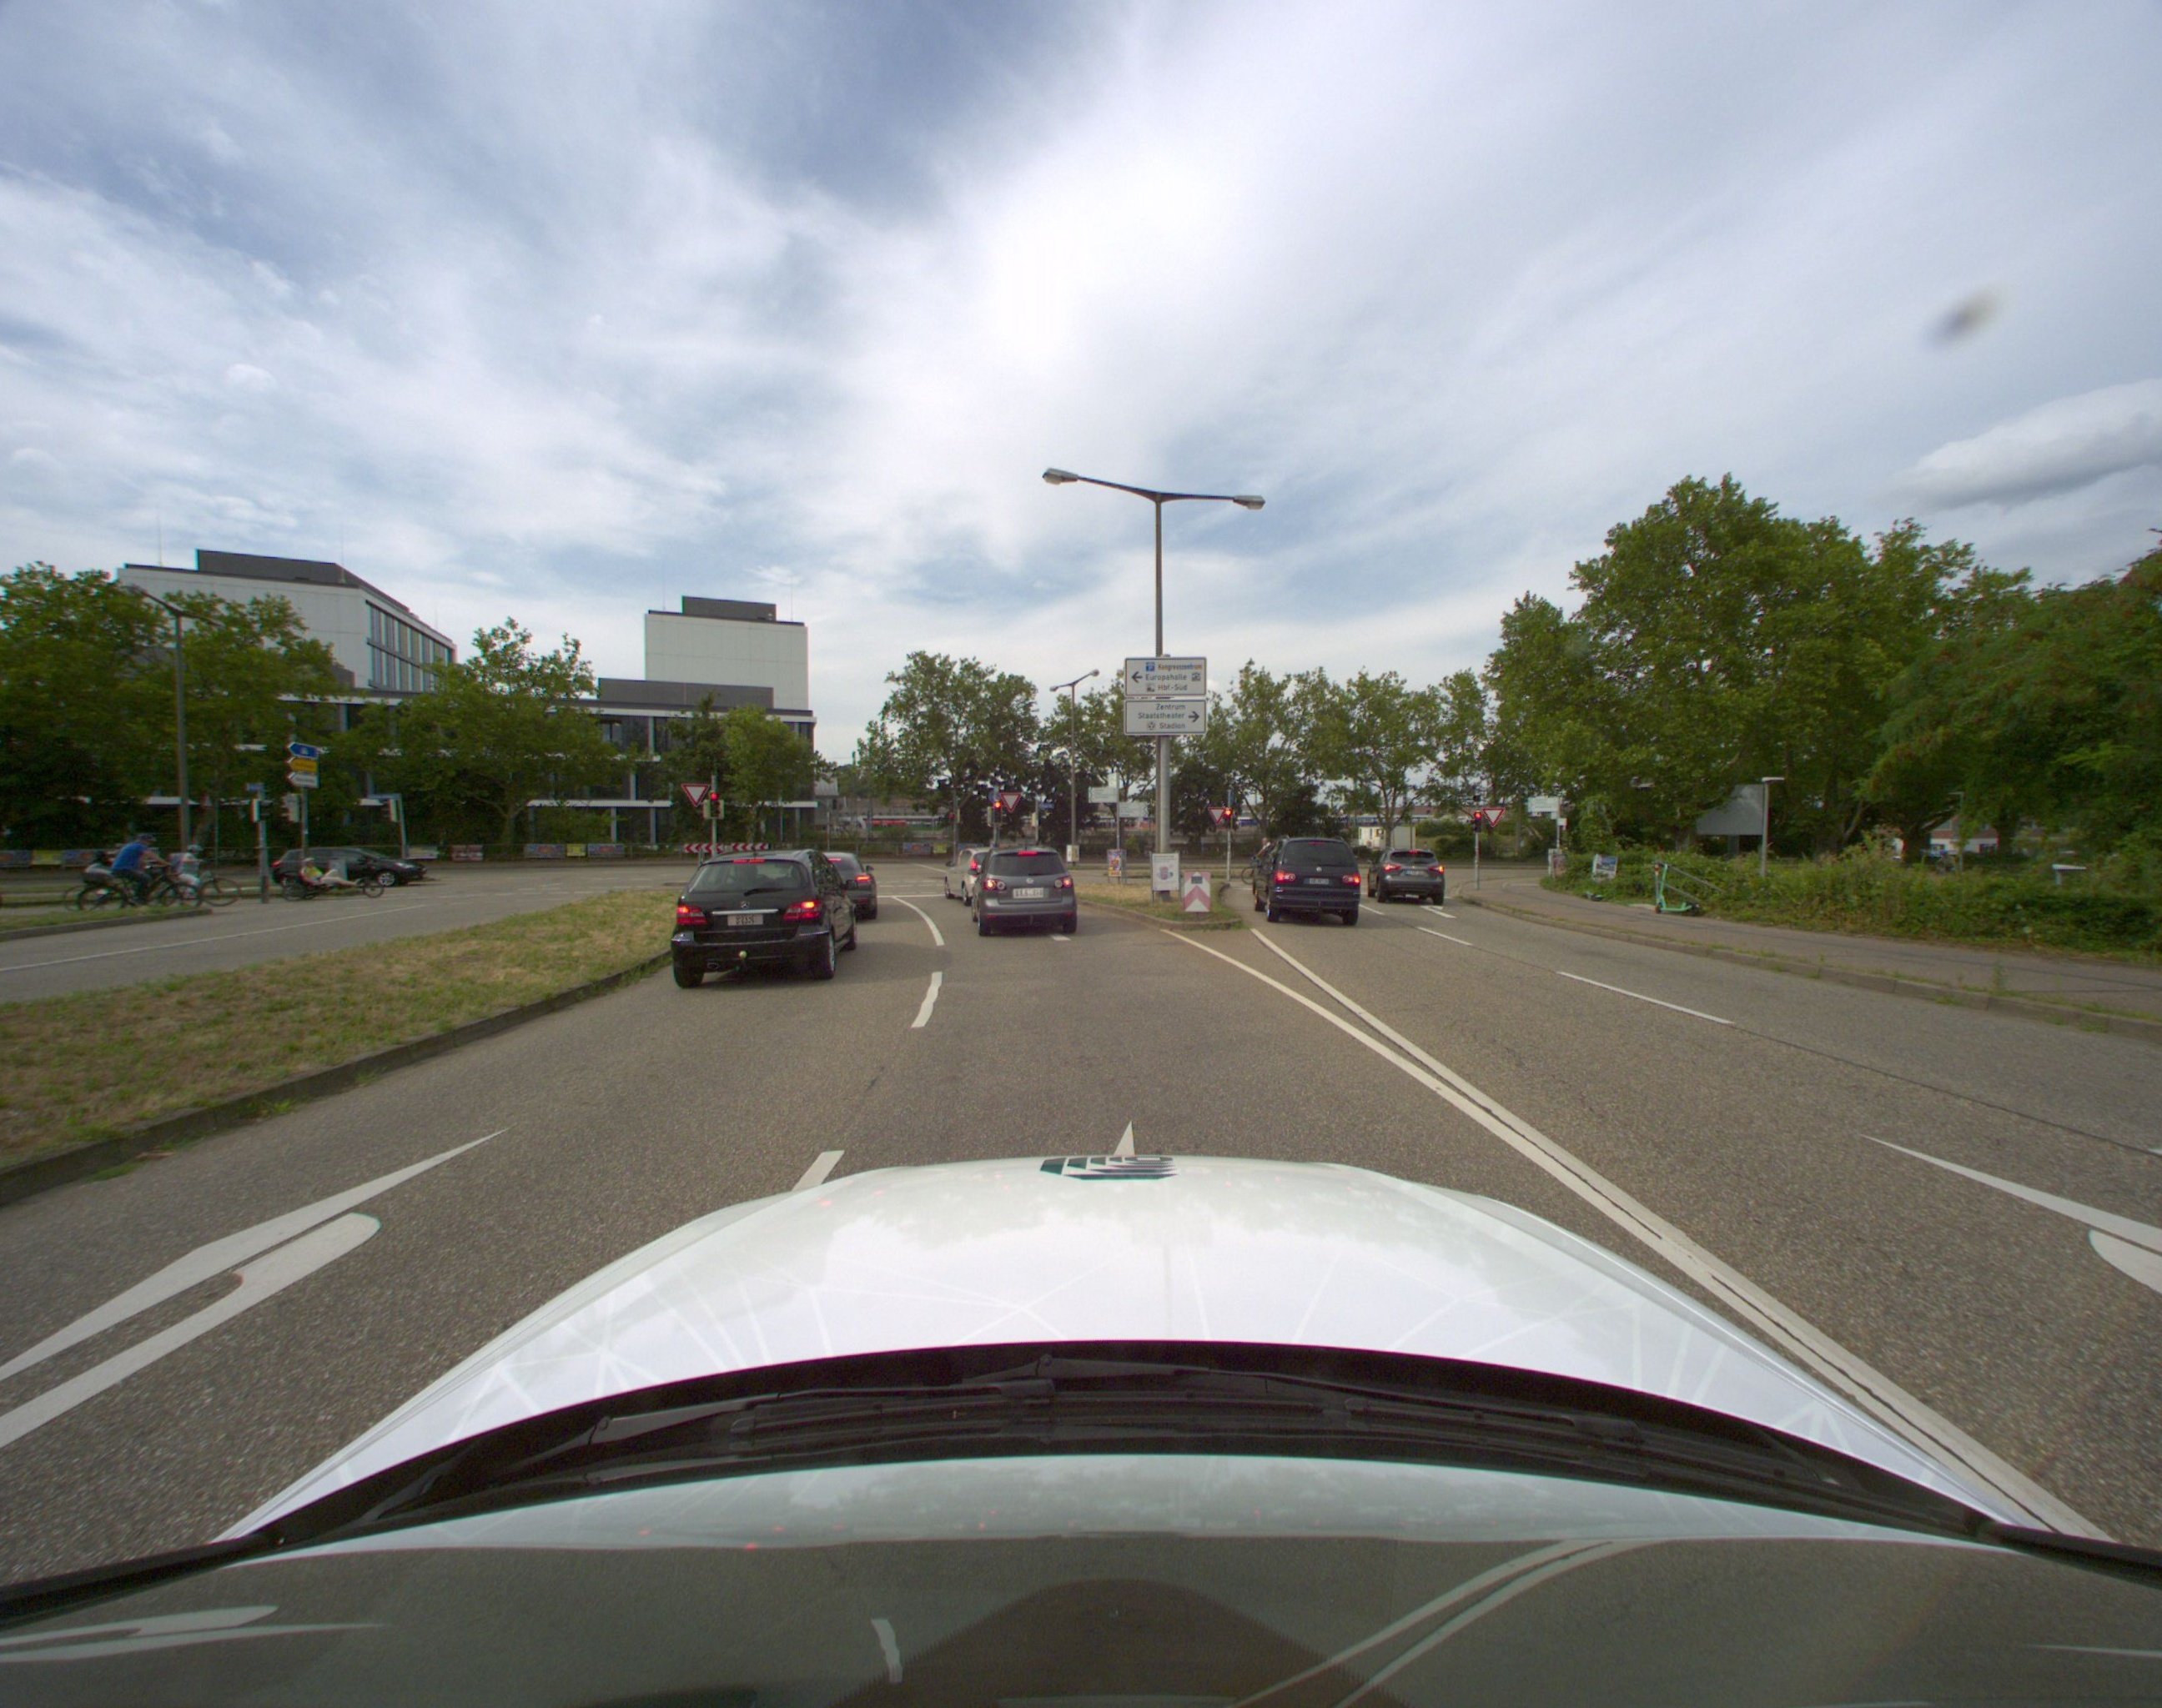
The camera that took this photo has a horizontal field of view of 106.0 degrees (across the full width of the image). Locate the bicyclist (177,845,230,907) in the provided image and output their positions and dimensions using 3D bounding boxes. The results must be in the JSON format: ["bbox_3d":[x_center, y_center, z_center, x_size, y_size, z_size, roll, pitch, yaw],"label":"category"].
[{"bbox_3d":[-22.823,0.553,21.185,0.785,1.581,0.648,-1,1,-35],"label":"bicyclist"}]

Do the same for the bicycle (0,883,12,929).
[{"bbox_3d":[-25.257,1.208,18.014,0.620,1.013,1.919,0,2,39],"label":"bicycle"}]

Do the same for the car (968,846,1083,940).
[{"bbox_3d":[-1.202,0.633,15.726,1.741,1.546,4.067,-1,1,-11],"label":"car"}]

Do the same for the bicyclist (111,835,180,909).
[{"bbox_3d":[-21.517,0.395,18.740,0.801,1.656,0.889,-1,1,32],"label":"bicyclist"}]

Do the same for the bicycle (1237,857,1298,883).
[{"bbox_3d":[7.393,0.644,32.330,2.226,0.952,0.809,-1,1,-8],"label":"bicycle"}]

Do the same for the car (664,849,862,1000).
[{"bbox_3d":[-4.071,0.759,11.091,1.757,1.575,4.022,0,2,-11],"label":"car"}]

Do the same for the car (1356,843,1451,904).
[{"bbox_3d":[9.569,0.531,24.471,1.740,1.643,4.148,1,0,8],"label":"car"}]

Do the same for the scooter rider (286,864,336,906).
[{"bbox_3d":[-22.276,0.873,23.579,0.921,1.137,0.799,-2,2,-37],"label":"scooter rider"}]

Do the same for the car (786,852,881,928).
[{"bbox_3d":[-5.655,0.705,18.514,1.823,1.414,4.747,0,1,-18],"label":"car"}]

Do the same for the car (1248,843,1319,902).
[{"bbox_3d":[5.959,0.502,24.327,1.681,1.585,4.166,1,0,9],"label":"car"}]

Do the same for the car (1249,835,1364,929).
[{"bbox_3d":[4.661,0.505,17.379,1.741,1.724,4.146,1,0,7],"label":"car"}]

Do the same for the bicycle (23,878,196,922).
[{"bbox_3d":[-23.263,1.087,19.570,2.595,0.890,0.699,-1,1,-24],"label":"bicycle"}]

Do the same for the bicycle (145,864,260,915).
[{"bbox_3d":[-22.813,0.897,21.207,1.915,1.210,0.636,-2,2,-36],"label":"bicycle"}]

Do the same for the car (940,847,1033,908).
[{"bbox_3d":[-2.679,0.567,22.326,1.746,1.482,4.056,-1,1,-18],"label":"car"}]

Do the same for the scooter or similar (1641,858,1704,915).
[{"bbox_3d":[13.090,0.699,18.054,0.395,1.183,1.279,-1,0,-3],"label":"scooter or similar"}]

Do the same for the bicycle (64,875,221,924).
[{"bbox_3d":[-21.506,1.019,18.726,0.801,0.952,2.250,-1,1,32],"label":"bicycle"}]

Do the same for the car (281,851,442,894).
[{"bbox_3d":[-25.561,0.630,29.129,4.085,1.368,1.685,-1,1,-33],"label":"car"}]

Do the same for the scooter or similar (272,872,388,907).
[{"bbox_3d":[-21.923,1.014,23.855,2.397,0.849,0.799,-2,2,-37],"label":"scooter or similar"}]

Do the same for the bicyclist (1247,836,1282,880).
[{"bbox_3d":[7.276,0.147,32.317,1.111,1.696,0.811,-1,1,-7],"label":"bicyclist"}]

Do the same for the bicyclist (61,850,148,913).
[{"bbox_3d":[-23.377,0.650,19.527,1.118,1.436,0.643,-2,2,-23],"label":"bicyclist"}]
